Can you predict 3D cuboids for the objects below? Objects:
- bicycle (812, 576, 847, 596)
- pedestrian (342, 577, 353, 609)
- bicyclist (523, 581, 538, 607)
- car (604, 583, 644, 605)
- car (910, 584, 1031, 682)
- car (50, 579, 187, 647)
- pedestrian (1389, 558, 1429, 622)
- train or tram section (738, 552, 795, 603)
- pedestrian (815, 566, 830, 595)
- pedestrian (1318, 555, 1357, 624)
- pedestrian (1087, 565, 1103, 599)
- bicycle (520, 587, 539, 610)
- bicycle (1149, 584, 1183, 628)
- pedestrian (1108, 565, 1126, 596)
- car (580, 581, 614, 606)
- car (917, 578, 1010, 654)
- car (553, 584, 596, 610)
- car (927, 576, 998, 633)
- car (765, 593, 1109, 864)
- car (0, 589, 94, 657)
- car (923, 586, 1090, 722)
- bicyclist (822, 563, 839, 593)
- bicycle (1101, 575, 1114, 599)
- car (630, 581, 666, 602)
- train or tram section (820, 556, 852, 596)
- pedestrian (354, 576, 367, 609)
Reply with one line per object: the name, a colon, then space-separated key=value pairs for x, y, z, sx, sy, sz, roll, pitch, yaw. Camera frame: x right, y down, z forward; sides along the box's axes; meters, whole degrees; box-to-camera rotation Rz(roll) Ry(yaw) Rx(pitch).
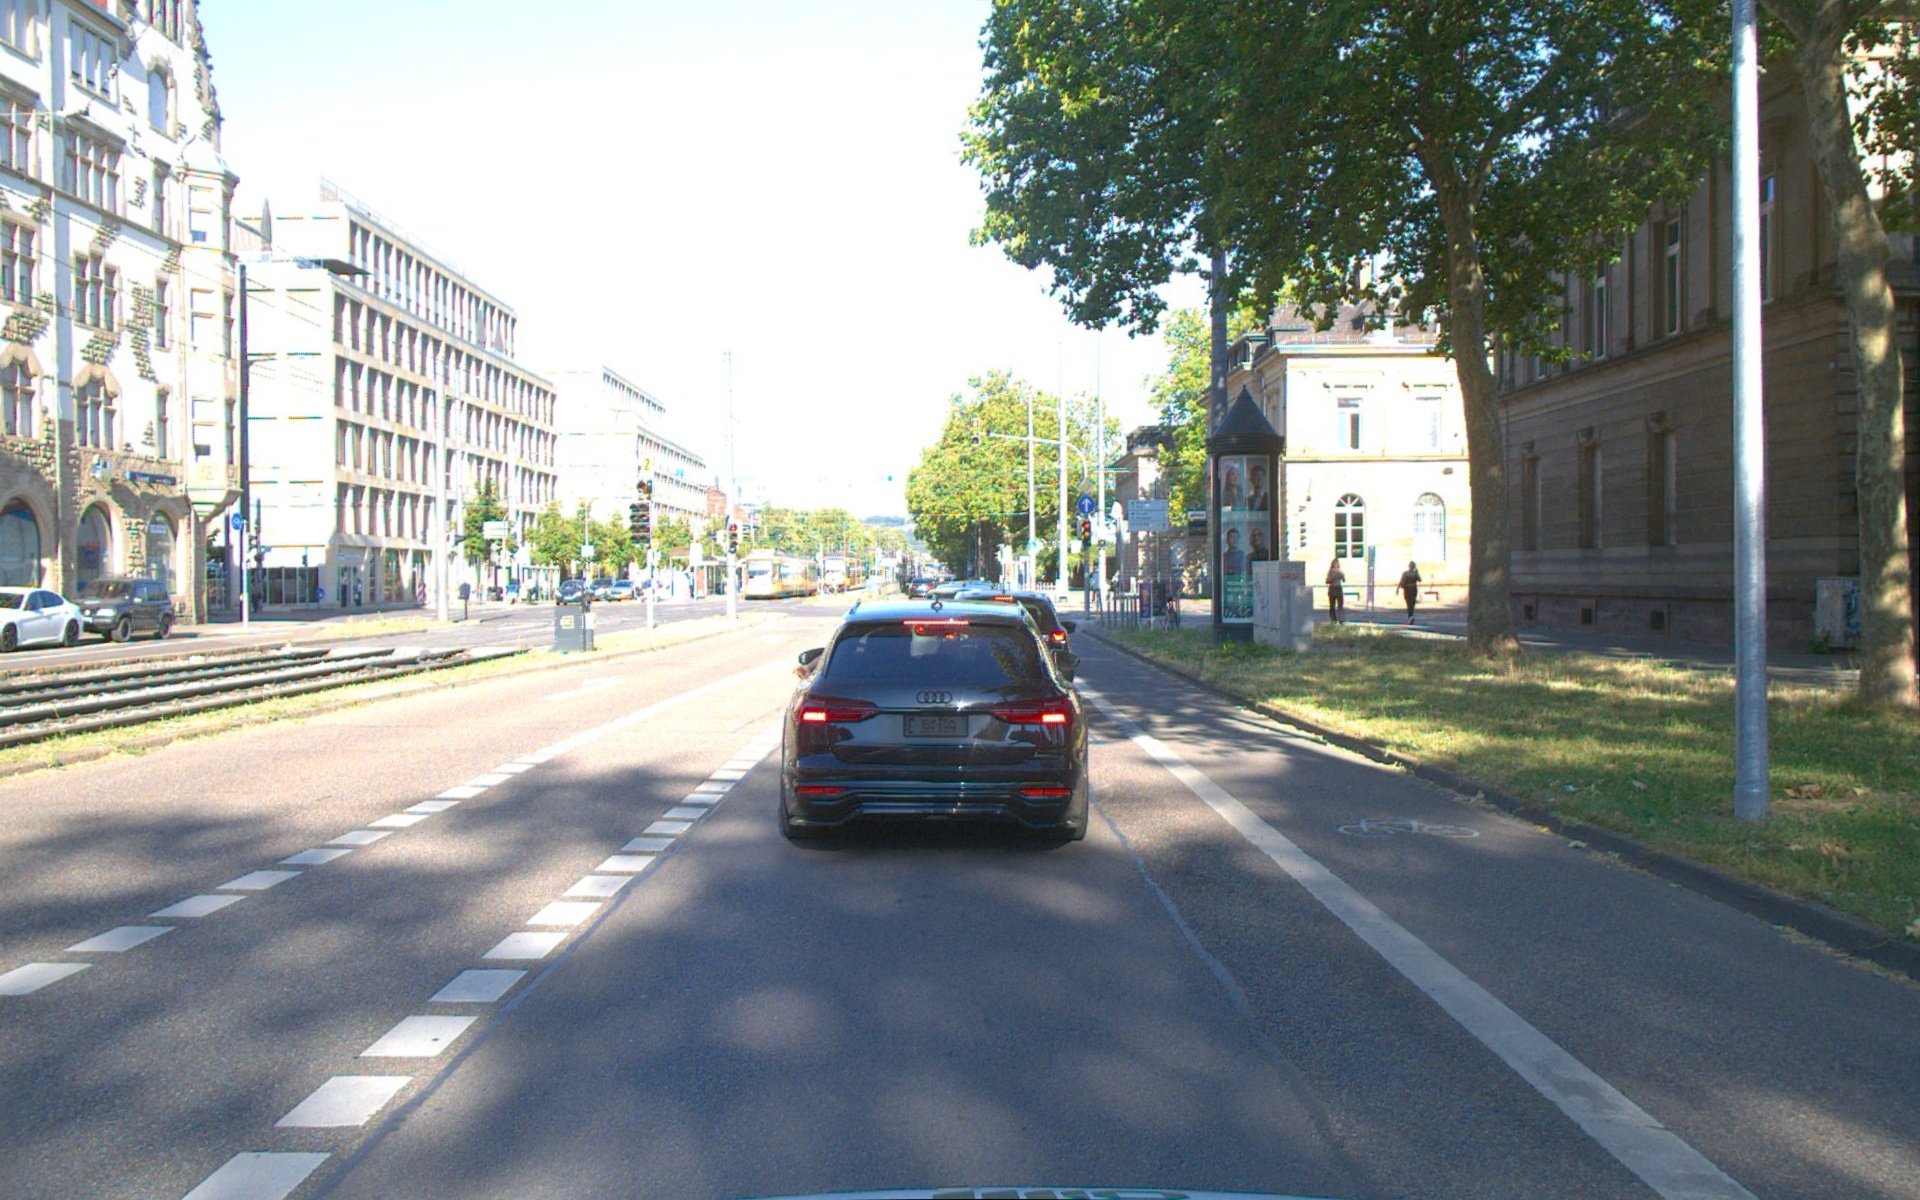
bicycle: x=-7.980 y=-0.857 z=101.212 sx=1.990 sy=1.127 sz=0.755 roll=-2 pitch=1 yaw=-37
pedestrian: x=-35.528 y=-0.416 z=95.981 sx=0.469 sy=1.875 sz=0.437 roll=-2 pitch=1 yaw=-39
bicyclist: x=-26.706 y=-0.385 z=102.845 sx=0.671 sy=1.590 sz=0.785 roll=-1 pitch=0 yaw=0
car: x=-23.414 y=-0.425 z=115.328 sx=1.782 sy=1.482 sz=4.541 roll=-1 pitch=1 yaw=1
car: x=0.153 y=0.499 z=27.722 sx=1.864 sy=1.512 sz=4.144 roll=0 pitch=0 yaw=0
car: x=-22.775 y=0.316 z=44.938 sx=1.682 sy=1.704 sz=4.215 roll=1 pitch=1 yaw=-2
pedestrian: x=11.635 y=-0.265 z=42.864 sx=0.753 sy=1.634 sz=0.986 roll=-1 pitch=1 yaw=1
train or tram section: x=-14.201 y=-1.682 z=122.154 sx=2.755 sy=3.550 sz=13.202 roll=-1 pitch=1 yaw=-1
pedestrian: x=-8.543 y=-1.214 z=102.756 sx=0.732 sy=1.772 sz=0.657 roll=-1 pitch=1 yaw=-30
pedestrian: x=9.805 y=-0.273 z=43.003 sx=0.753 sy=1.739 sz=1.042 roll=-1 pitch=1 yaw=1
pedestrian: x=6.658 y=-0.885 z=81.596 sx=0.668 sy=1.689 sz=0.758 roll=-1 pitch=1 yaw=-3
bicycle: x=-26.768 y=-0.122 z=102.865 sx=0.671 sy=1.406 sz=1.947 roll=-1 pitch=1 yaw=1
bicycle: x=5.276 y=0.144 z=42.389 sx=0.529 sy=1.080 sz=1.770 roll=-1 pitch=1 yaw=-4
pedestrian: x=9.632 y=-1.178 z=101.498 sx=0.959 sy=1.898 sz=0.826 roll=-1 pitch=1 yaw=-2
car: x=-27.934 y=-0.512 z=127.475 sx=1.804 sy=1.844 sz=4.112 roll=-1 pitch=1 yaw=-2
car: x=0.057 y=0.308 z=35.489 sx=1.864 sy=1.512 sz=4.144 roll=0 pitch=0 yaw=0
car: x=-23.139 y=-0.222 z=99.462 sx=1.783 sy=1.482 sz=4.164 roll=-1 pitch=1 yaw=-3
car: x=0.054 y=0.107 z=45.883 sx=1.864 sy=1.512 sz=4.144 roll=0 pitch=0 yaw=0
car: x=-0.131 y=0.691 z=11.061 sx=1.864 sy=1.446 sz=4.144 roll=0 pitch=0 yaw=0
car: x=-22.646 y=0.500 z=39.418 sx=1.682 sy=1.448 sz=4.654 roll=2 pitch=1 yaw=-2
car: x=0.513 y=0.585 z=20.552 sx=1.864 sy=1.512 sz=4.144 roll=0 pitch=0 yaw=0
bicyclist: x=-7.923 y=-1.349 z=101.240 sx=0.751 sy=1.850 sz=0.755 roll=-1 pitch=1 yaw=-36
bicycle: x=7.271 y=-0.657 z=81.643 sx=0.426 sy=1.165 sz=1.340 roll=-1 pitch=1 yaw=-2
car: x=-23.449 y=-0.631 z=124.308 sx=1.782 sy=1.482 sz=4.158 roll=-1 pitch=1 yaw=1
train or tram section: x=-11.524 y=-2.227 z=153.948 sx=2.556 sy=3.511 sz=11.128 roll=-1 pitch=1 yaw=-2
pedestrian: x=-34.841 y=-0.446 z=96.127 sx=0.527 sy=1.875 sz=0.437 roll=-2 pitch=1 yaw=-39
